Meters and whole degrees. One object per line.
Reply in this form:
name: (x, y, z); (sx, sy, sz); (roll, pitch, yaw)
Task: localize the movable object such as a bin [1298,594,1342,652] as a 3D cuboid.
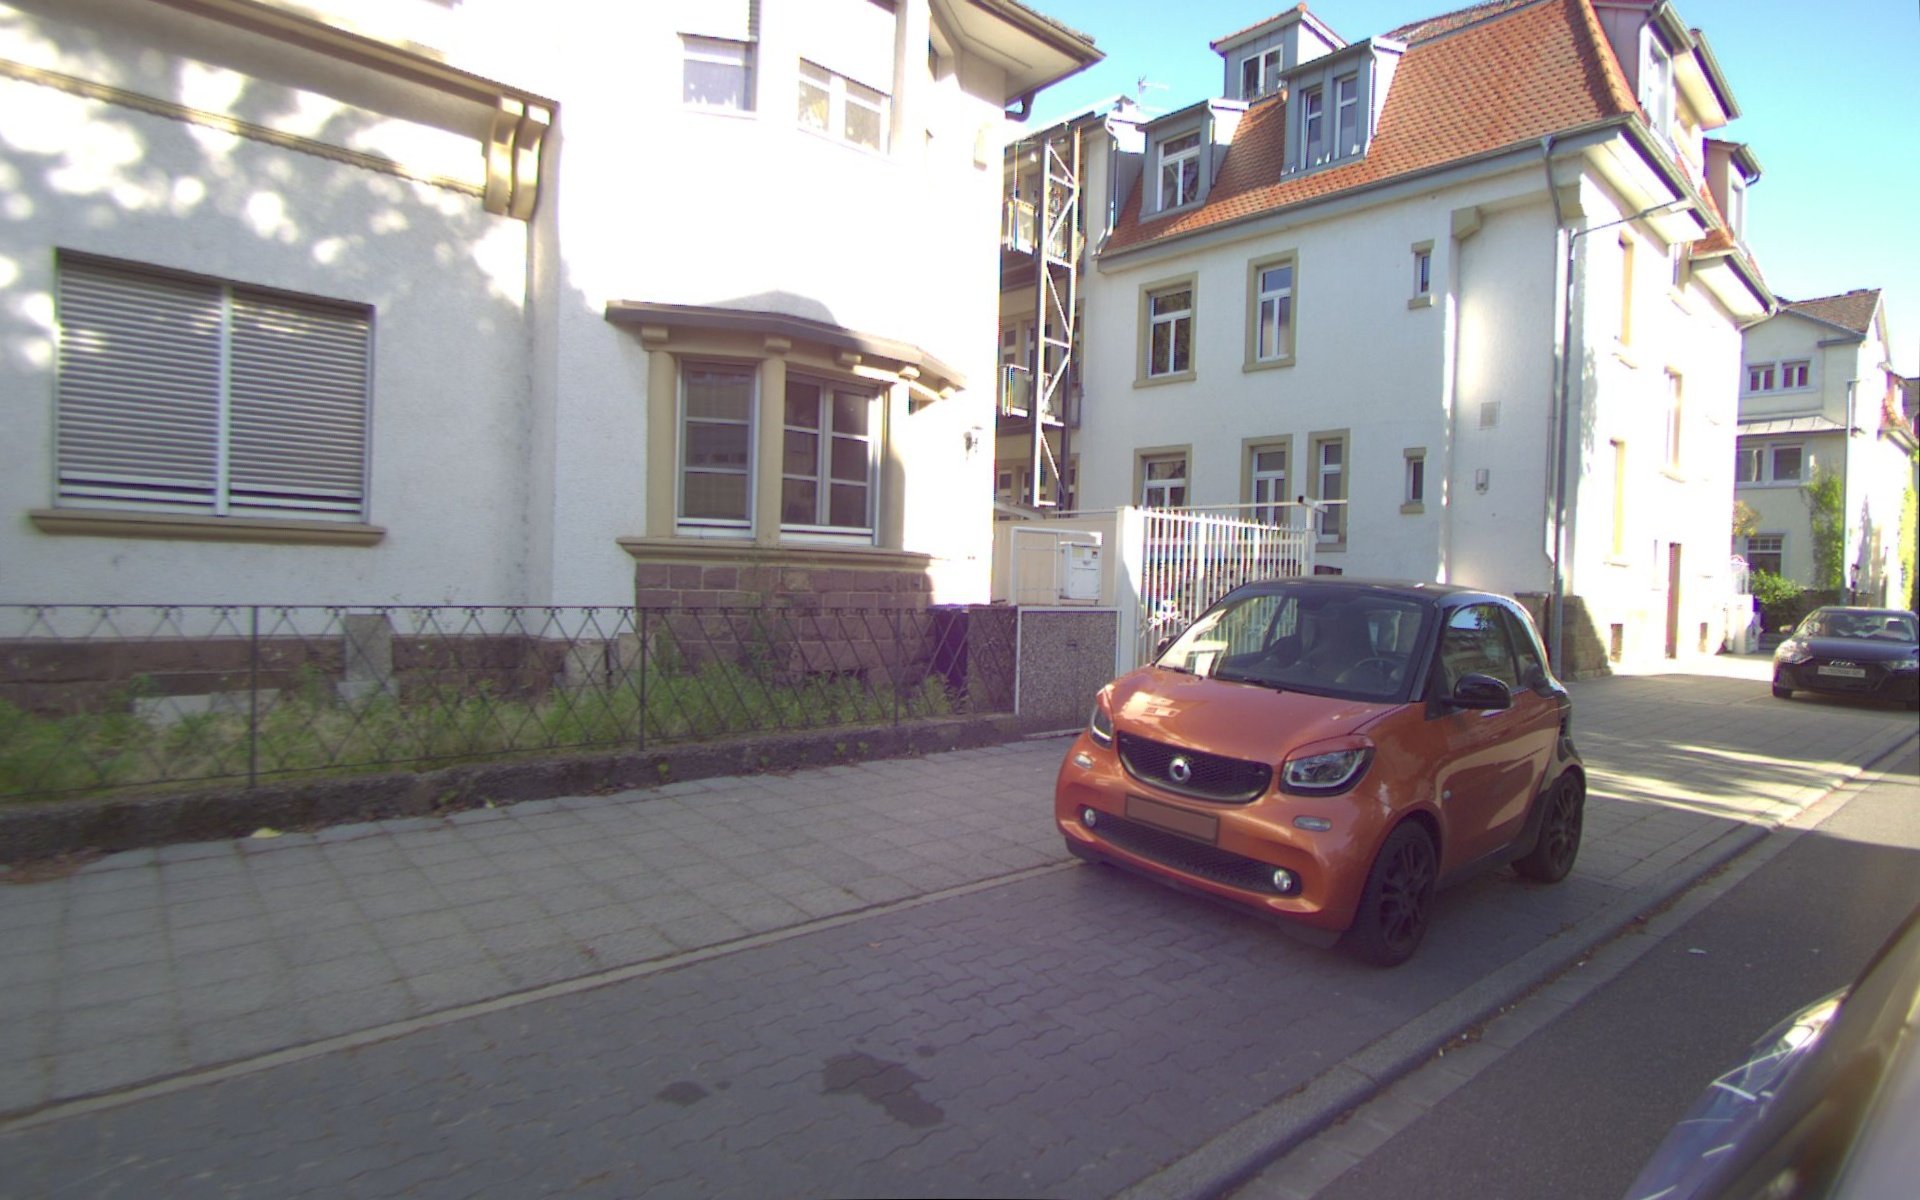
movable object such as a bin: (6.593, 0.411, 18.518); (0.644, 1.015, 0.518); (-1, 0, -44)

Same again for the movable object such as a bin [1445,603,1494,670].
movable object such as a bin: (8.628, 0.605, 17.137); (0.685, 1.076, 0.556); (-1, 0, -44)

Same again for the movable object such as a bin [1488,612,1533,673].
movable object such as a bin: (9.066, 0.690, 16.663); (0.642, 0.948, 0.486); (-1, 0, -44)

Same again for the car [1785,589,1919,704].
car: (14.076, 0.640, 15.497); (3.867, 1.457, 1.623); (0, 4, -43)

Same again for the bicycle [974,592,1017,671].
bicycle: (0.494, 0.420, 14.508); (0.306, 1.000, 1.551); (-1, 3, -9)

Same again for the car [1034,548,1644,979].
car: (2.102, 0.563, 5.282); (3.190, 1.498, 1.596); (0, 4, -41)

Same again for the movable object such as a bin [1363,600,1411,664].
movable object such as a bin: (7.419, 0.538, 17.580); (0.644, 1.063, 0.556); (-1, 0, -44)

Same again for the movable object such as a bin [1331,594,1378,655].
movable object such as a bin: (7.014, 0.422, 18.004); (0.644, 1.057, 0.553); (-1, 0, -44)
